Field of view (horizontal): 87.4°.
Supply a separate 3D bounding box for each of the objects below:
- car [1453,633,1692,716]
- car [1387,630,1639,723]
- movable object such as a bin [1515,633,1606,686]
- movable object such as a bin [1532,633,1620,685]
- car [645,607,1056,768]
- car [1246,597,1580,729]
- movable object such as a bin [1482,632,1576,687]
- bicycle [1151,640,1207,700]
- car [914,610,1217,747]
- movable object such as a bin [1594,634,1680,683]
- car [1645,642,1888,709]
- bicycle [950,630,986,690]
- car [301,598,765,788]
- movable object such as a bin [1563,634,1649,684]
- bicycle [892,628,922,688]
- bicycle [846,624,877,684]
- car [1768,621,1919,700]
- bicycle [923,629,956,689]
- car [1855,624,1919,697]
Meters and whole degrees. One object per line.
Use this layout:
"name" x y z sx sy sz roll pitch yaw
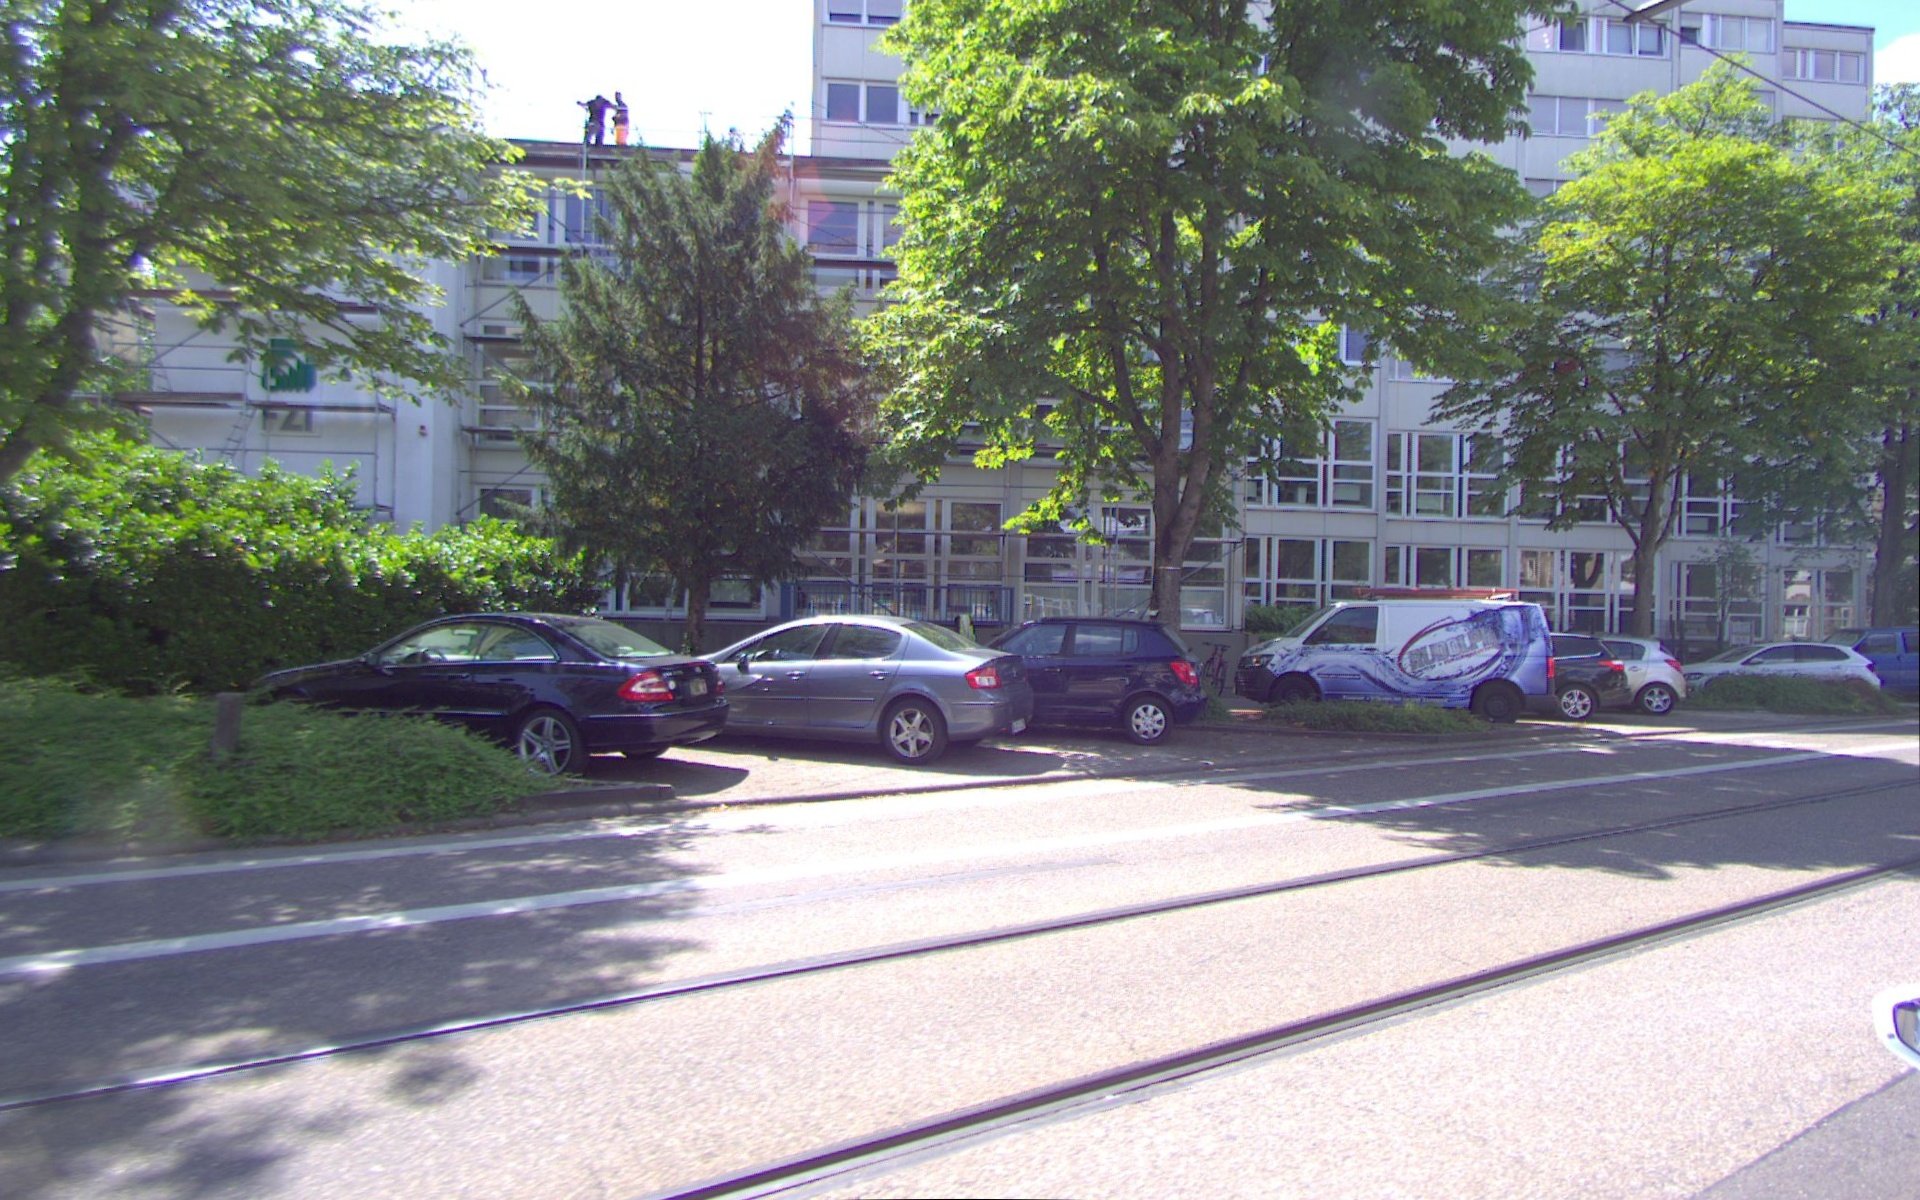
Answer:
"car" 11.879 1.431 19.751 3.634 1.486 1.764 0 -3 15
"car" 9.811 1.340 18.139 3.634 1.526 1.819 0 -3 14
"movable object such as a bin" 16.942 1.665 28.375 1.407 1.428 1.754 2 -2 -30
"movable object such as a bin" 18.008 1.704 29.403 1.407 1.428 1.754 2 -2 -30
"car" -1.164 0.875 11.149 4.120 1.526 1.875 0 -2 19
"car" 7.141 0.980 16.389 4.660 1.960 1.923 0 -2 13
"movable object such as a bin" 15.624 1.609 27.608 1.472 1.428 1.754 2 -2 -30
"bicycle" 4.592 1.457 21.221 0.547 1.089 2.135 2 0 -4
"car" 1.402 0.943 12.864 3.634 1.564 1.693 0 -2 15
"movable object such as a bin" 20.652 1.780 30.682 1.407 1.428 1.754 2 -2 -30
"car" 18.357 1.710 23.055 3.919 1.452 1.764 -1 -4 12
"bicycle" 0.156 1.222 20.938 0.547 1.089 2.016 2 0 -4
"car" -3.896 0.788 9.418 3.634 1.526 1.764 0 -2 13
"movable object such as a bin" 19.312 1.741 30.060 1.407 1.428 1.754 2 -2 -30
"bicycle" -1.116 1.170 20.800 0.547 1.089 2.016 2 0 -4
"bicycle" -2.007 1.081 20.625 0.547 1.089 2.016 2 0 -4
"car" 24.208 1.548 26.074 4.636 1.981 1.848 0 -2 15
"bicycle" -0.450 1.198 20.876 0.547 1.089 2.016 2 0 -4
"car" 29.478 1.761 29.224 4.670 2.089 2.026 0 -2 21
